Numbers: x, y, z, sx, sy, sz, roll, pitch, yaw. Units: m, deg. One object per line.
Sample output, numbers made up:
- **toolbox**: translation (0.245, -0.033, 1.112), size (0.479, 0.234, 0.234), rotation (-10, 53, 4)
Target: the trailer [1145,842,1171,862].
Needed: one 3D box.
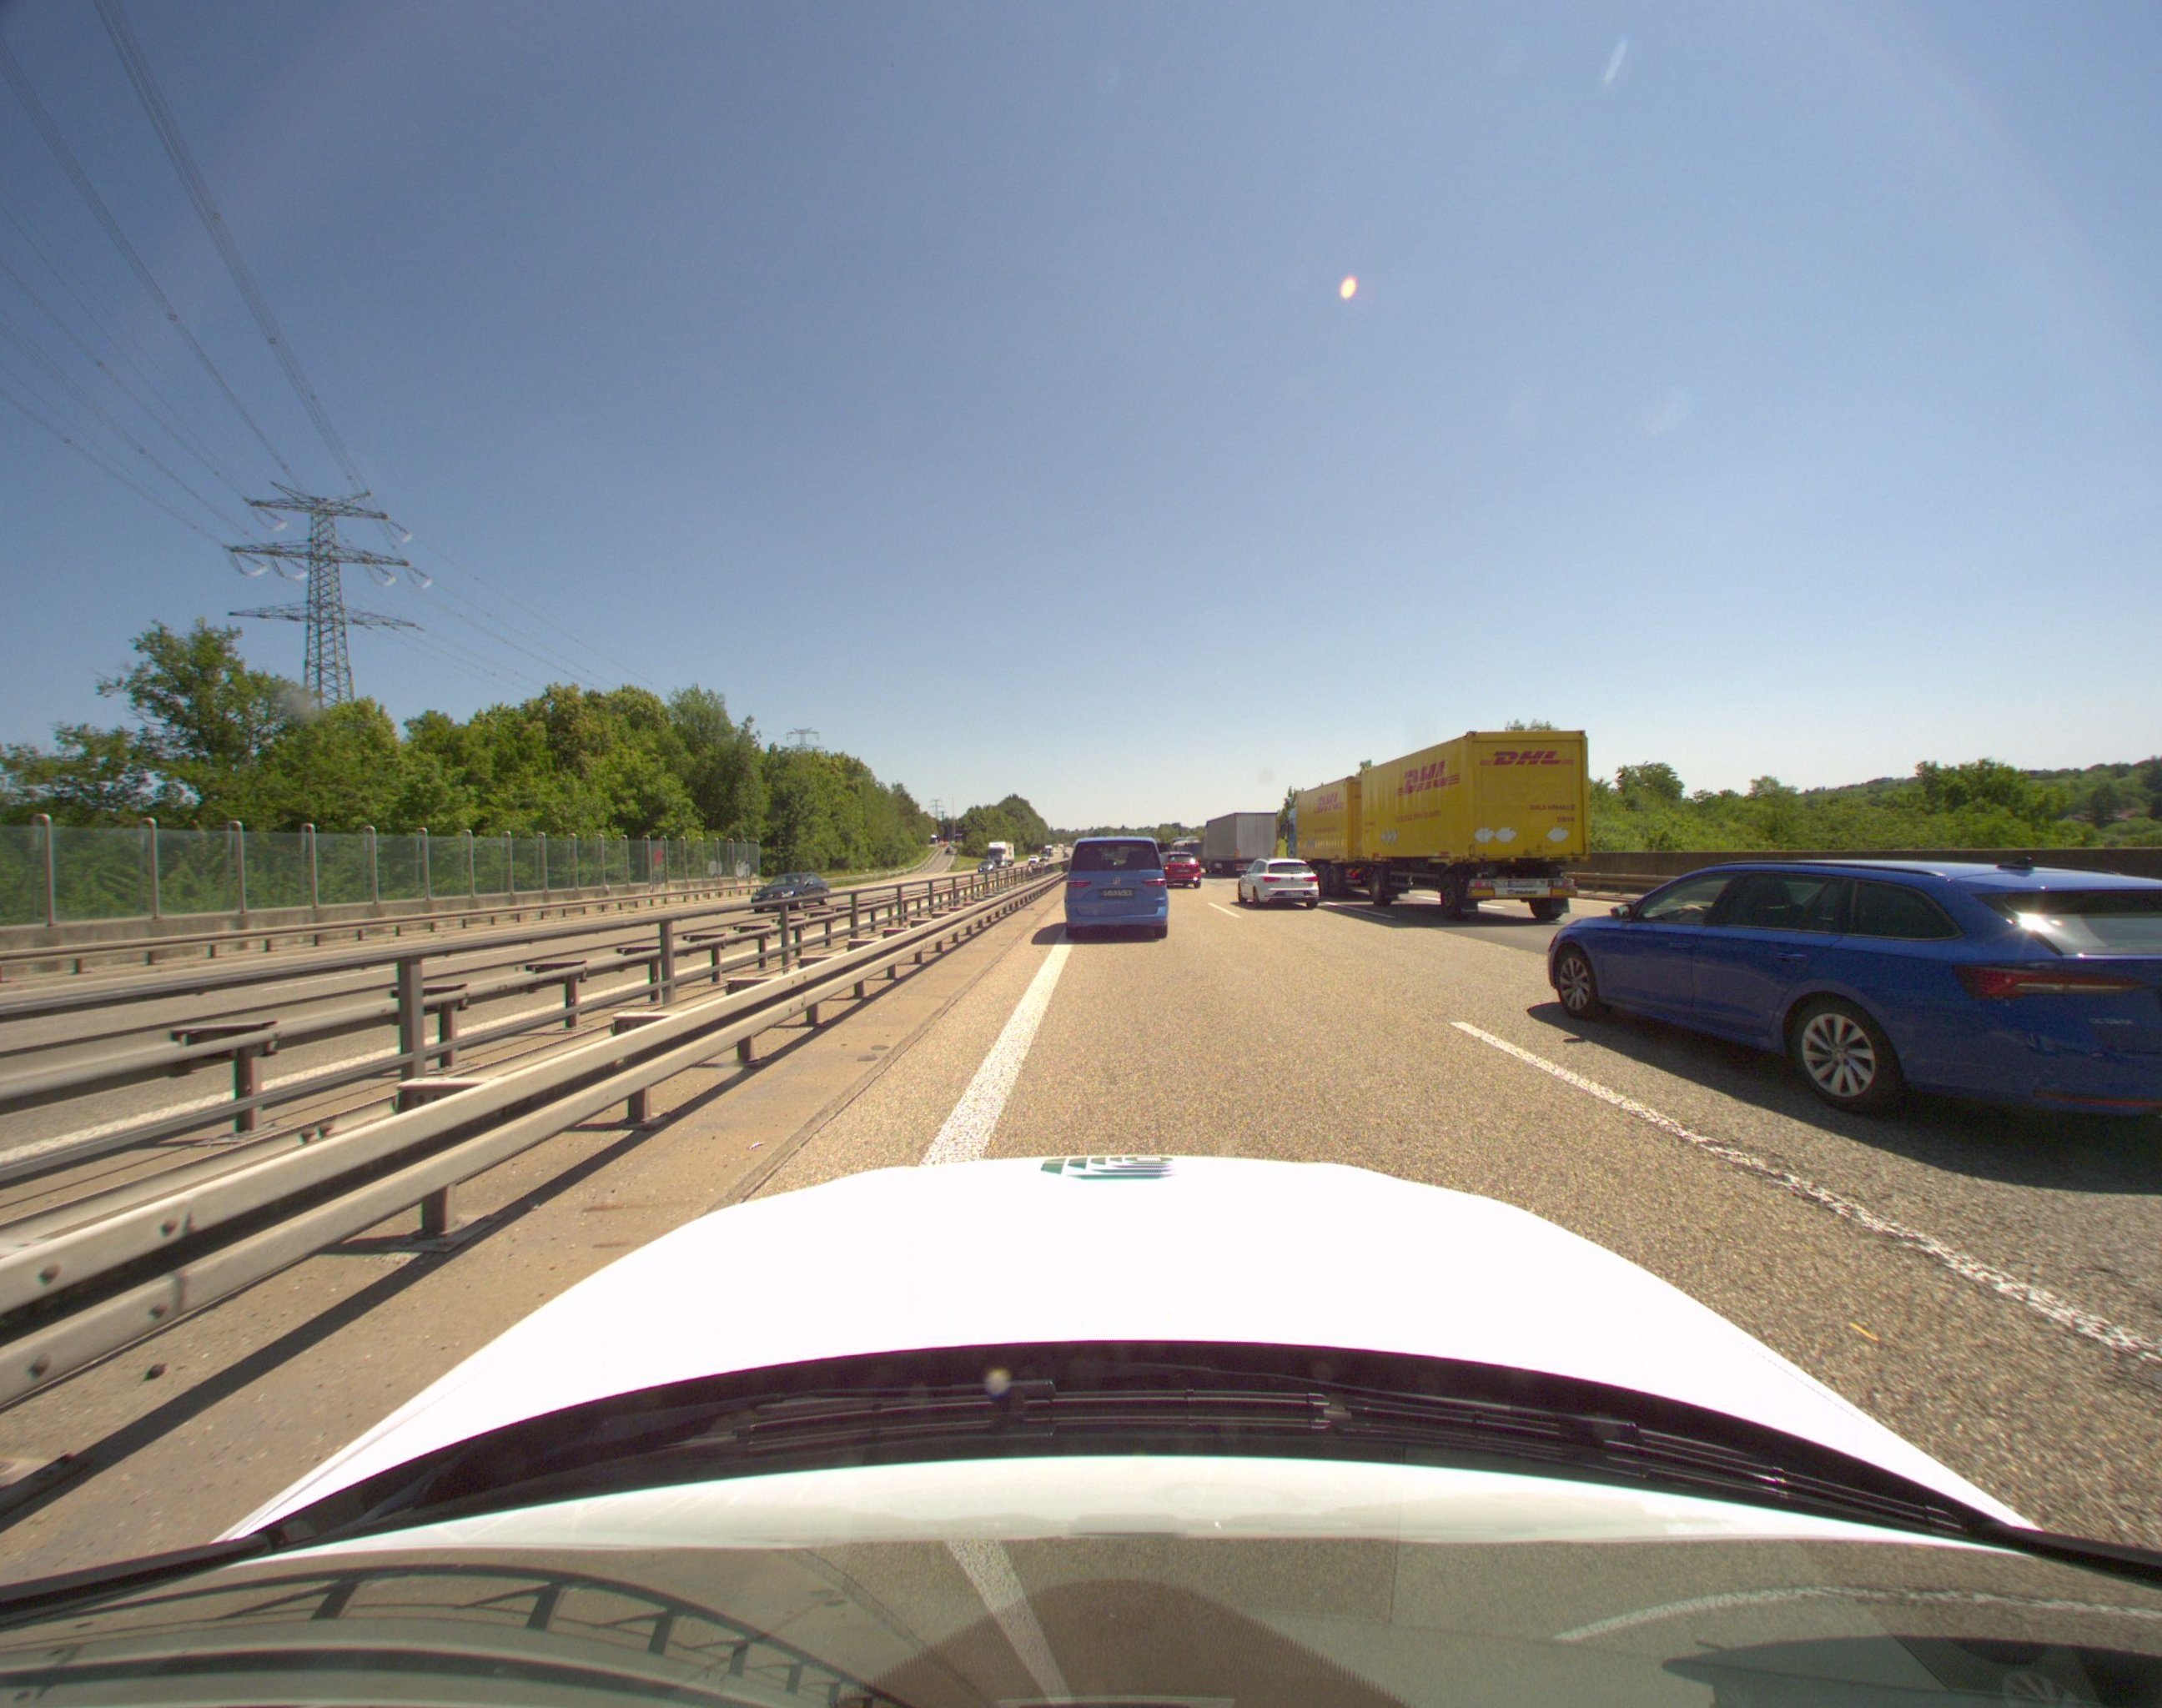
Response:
- **trailer**: translation (12.554, -0.271, 133.977), size (3.631, 3.079, 15.785), rotation (0, 0, 3)

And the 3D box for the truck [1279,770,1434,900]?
- **truck**: translation (9.944, -0.572, 30.848), size (2.755, 4.109, 9.955), rotation (0, -1, 2)

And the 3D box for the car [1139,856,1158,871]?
- **car**: translation (7.447, 1.059, 89.938), size (1.774, 1.524, 4.000), rotation (-1, -1, 1)

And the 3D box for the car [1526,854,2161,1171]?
- **car**: translation (5.245, 0.735, 5.924), size (1.700, 1.441, 4.429), rotation (0, 0, 2)

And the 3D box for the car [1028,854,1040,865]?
- **car**: translation (-8.351, 0.977, 144.827), size (1.742, 1.696, 4.387), rotation (-3, -1, 2)

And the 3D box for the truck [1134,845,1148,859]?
- **truck**: translation (7.999, -0.211, 109.217), size (1.719, 1.857, 4.000), rotation (0, -1, 1)

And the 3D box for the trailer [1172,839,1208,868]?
- **trailer**: translation (11.465, -0.132, 86.418), size (2.734, 2.836, 9.119), rotation (0, 1, 1)

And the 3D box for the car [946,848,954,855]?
- **car**: translation (-35.577, -0.679, 221.483), size (1.991, 1.576, 5.264), rotation (0, 0, -6)

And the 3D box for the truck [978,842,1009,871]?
- **truck**: translation (-13.531, 0.355, 125.777), size (3.991, 4.228, 4.860), rotation (-2, -1, 1)

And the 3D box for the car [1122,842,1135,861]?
- **car**: translation (13.590, -0.600, 233.006), size (3.206, 5.257, 8.146), rotation (0, -1, 1)

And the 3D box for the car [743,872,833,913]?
- **car**: translation (-11.218, 1.437, 31.490), size (1.754, 1.319, 4.272), rotation (-3, -1, 2)

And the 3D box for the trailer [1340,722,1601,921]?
- **trailer**: translation (9.611, -0.642, 21.682), size (2.754, 4.117, 9.381), rotation (0, -1, 2)

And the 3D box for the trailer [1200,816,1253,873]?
- **trailer**: translation (10.863, -0.718, 61.334), size (2.914, 4.043, 6.413), rotation (-1, 0, 1)

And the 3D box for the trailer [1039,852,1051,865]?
- **trailer**: translation (-8.233, 0.959, 187.373), size (2.157, 2.777, 5.379), rotation (-5, -1, 2)

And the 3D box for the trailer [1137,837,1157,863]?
- **trailer**: translation (13.646, -0.821, 169.511), size (3.632, 5.136, 13.081), rotation (0, -1, 2)

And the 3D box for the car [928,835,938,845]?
- **car**: translation (-46.911, -4.433, 257.823), size (2.074, 2.880, 6.692), rotation (-2, -1, -17)

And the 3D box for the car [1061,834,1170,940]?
- **car**: translation (0.689, 0.596, 16.227), size (1.894, 1.838, 4.002), rotation (0, -1, 2)

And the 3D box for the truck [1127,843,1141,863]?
- **truck**: translation (13.314, -0.277, 206.121), size (3.057, 4.920, 10.691), rotation (0, -1, 1)

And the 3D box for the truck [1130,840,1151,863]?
- **truck**: translation (13.790, -0.453, 189.746), size (3.610, 5.212, 15.685), rotation (0, 0, 0)

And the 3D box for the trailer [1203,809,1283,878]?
- **trailer**: translation (10.686, -0.625, 55.450), size (2.951, 4.049, 13.756), rotation (-1, 0, 1)

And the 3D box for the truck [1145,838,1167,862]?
- **truck**: translation (13.137, -0.636, 142.445), size (3.610, 4.094, 7.531), rotation (0, -1, 4)

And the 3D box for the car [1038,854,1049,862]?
- **car**: translation (-8.389, 0.930, 182.453), size (1.863, 1.625, 4.631), rotation (0, -1, 2)

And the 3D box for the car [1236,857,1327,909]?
- **car**: translation (5.811, 0.798, 24.016), size (1.860, 1.361, 4.003), rotation (0, 0, 2)

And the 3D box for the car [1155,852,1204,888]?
- **car**: translation (4.537, 0.724, 37.937), size (1.864, 1.552, 4.001), rotation (0, -1, 1)

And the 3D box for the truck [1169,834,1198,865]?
- **truck**: translation (11.707, -0.565, 93.688), size (2.733, 3.311, 7.137), rotation (0, 1, 2)

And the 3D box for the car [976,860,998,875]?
- **car**: translation (-9.942, 1.400, 86.220), size (1.646, 1.462, 3.544), rotation (-3, -1, 2)
